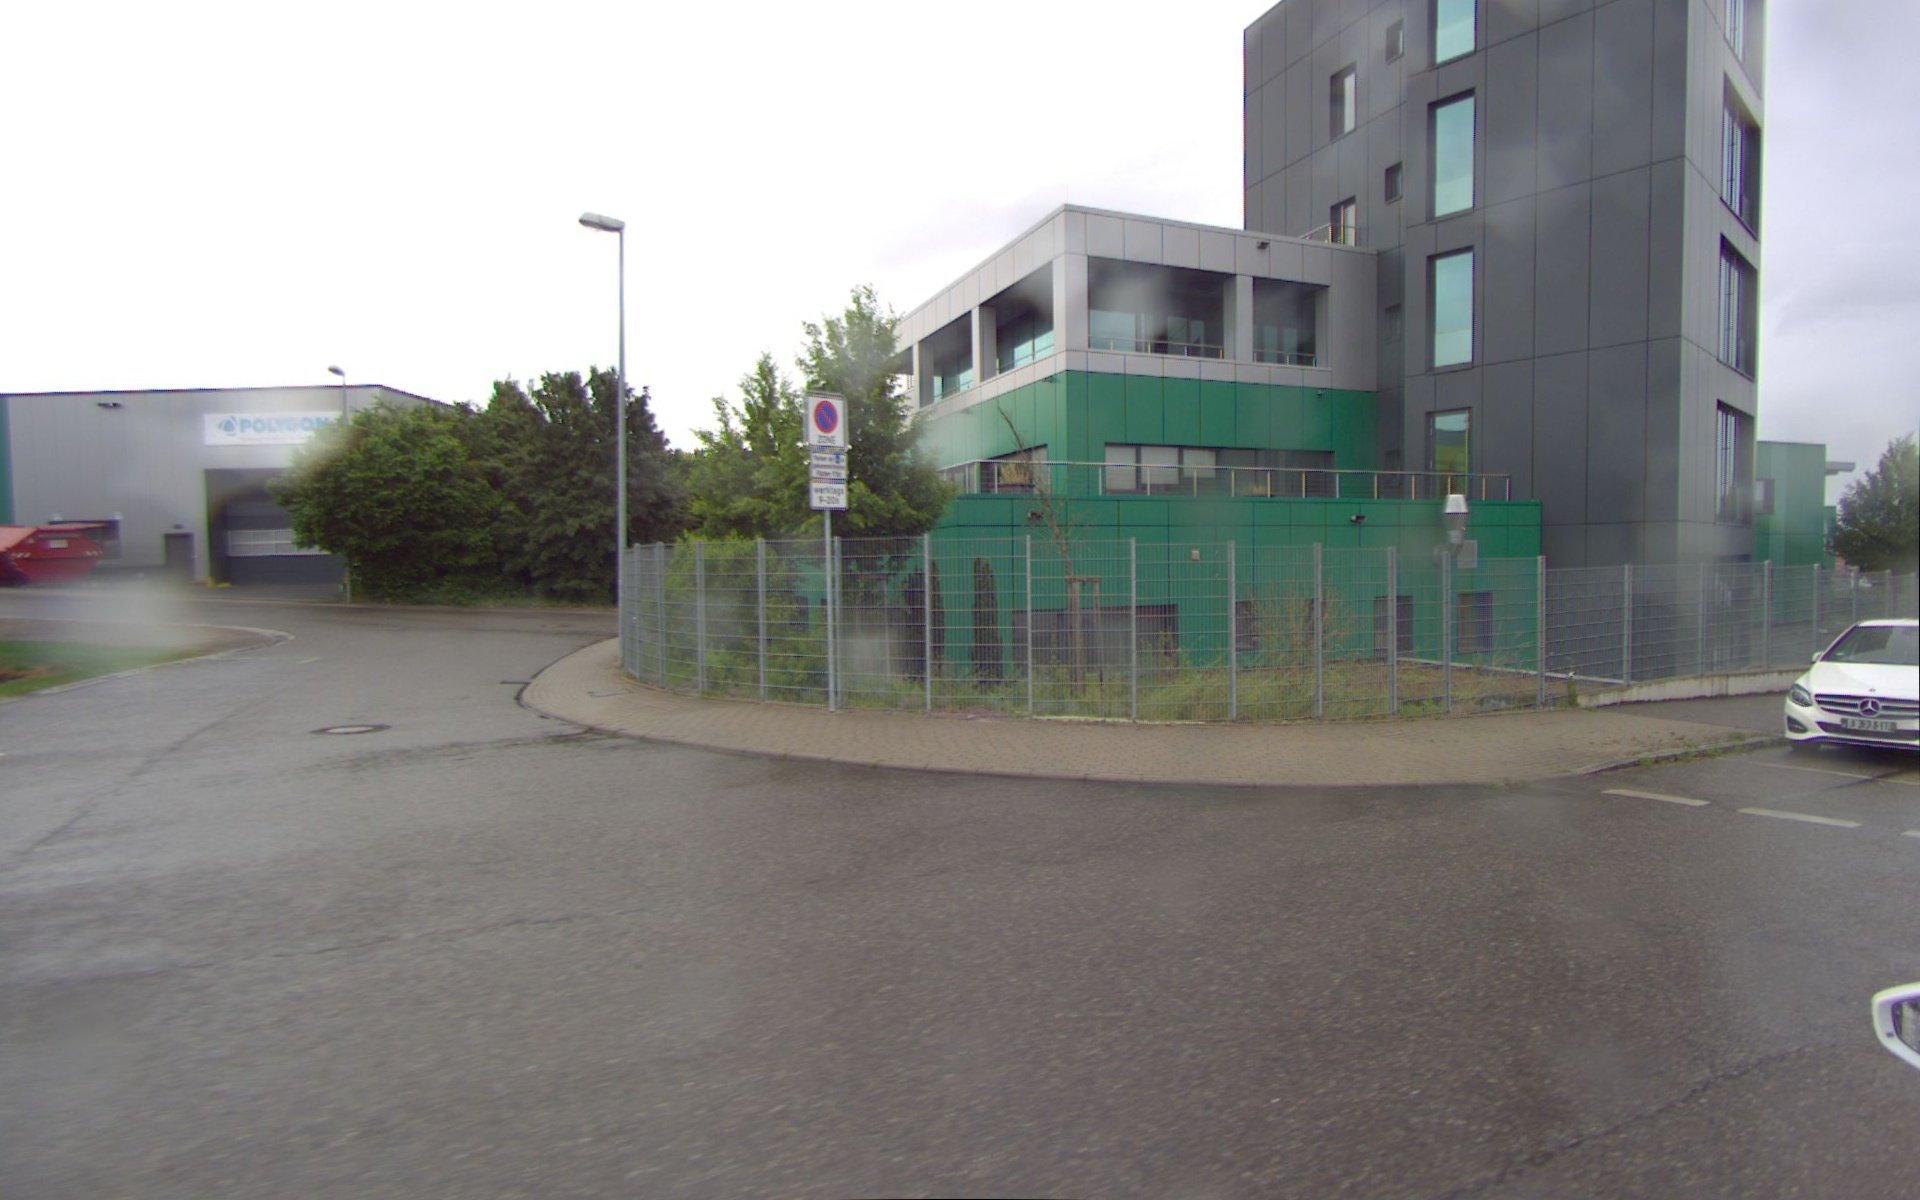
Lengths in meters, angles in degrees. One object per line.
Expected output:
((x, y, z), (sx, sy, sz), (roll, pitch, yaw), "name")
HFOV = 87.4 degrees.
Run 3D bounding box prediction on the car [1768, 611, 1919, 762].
((11.302, 0.960, 11.807), (4.104, 1.533, 1.758), (2, -1, -35), "car")
